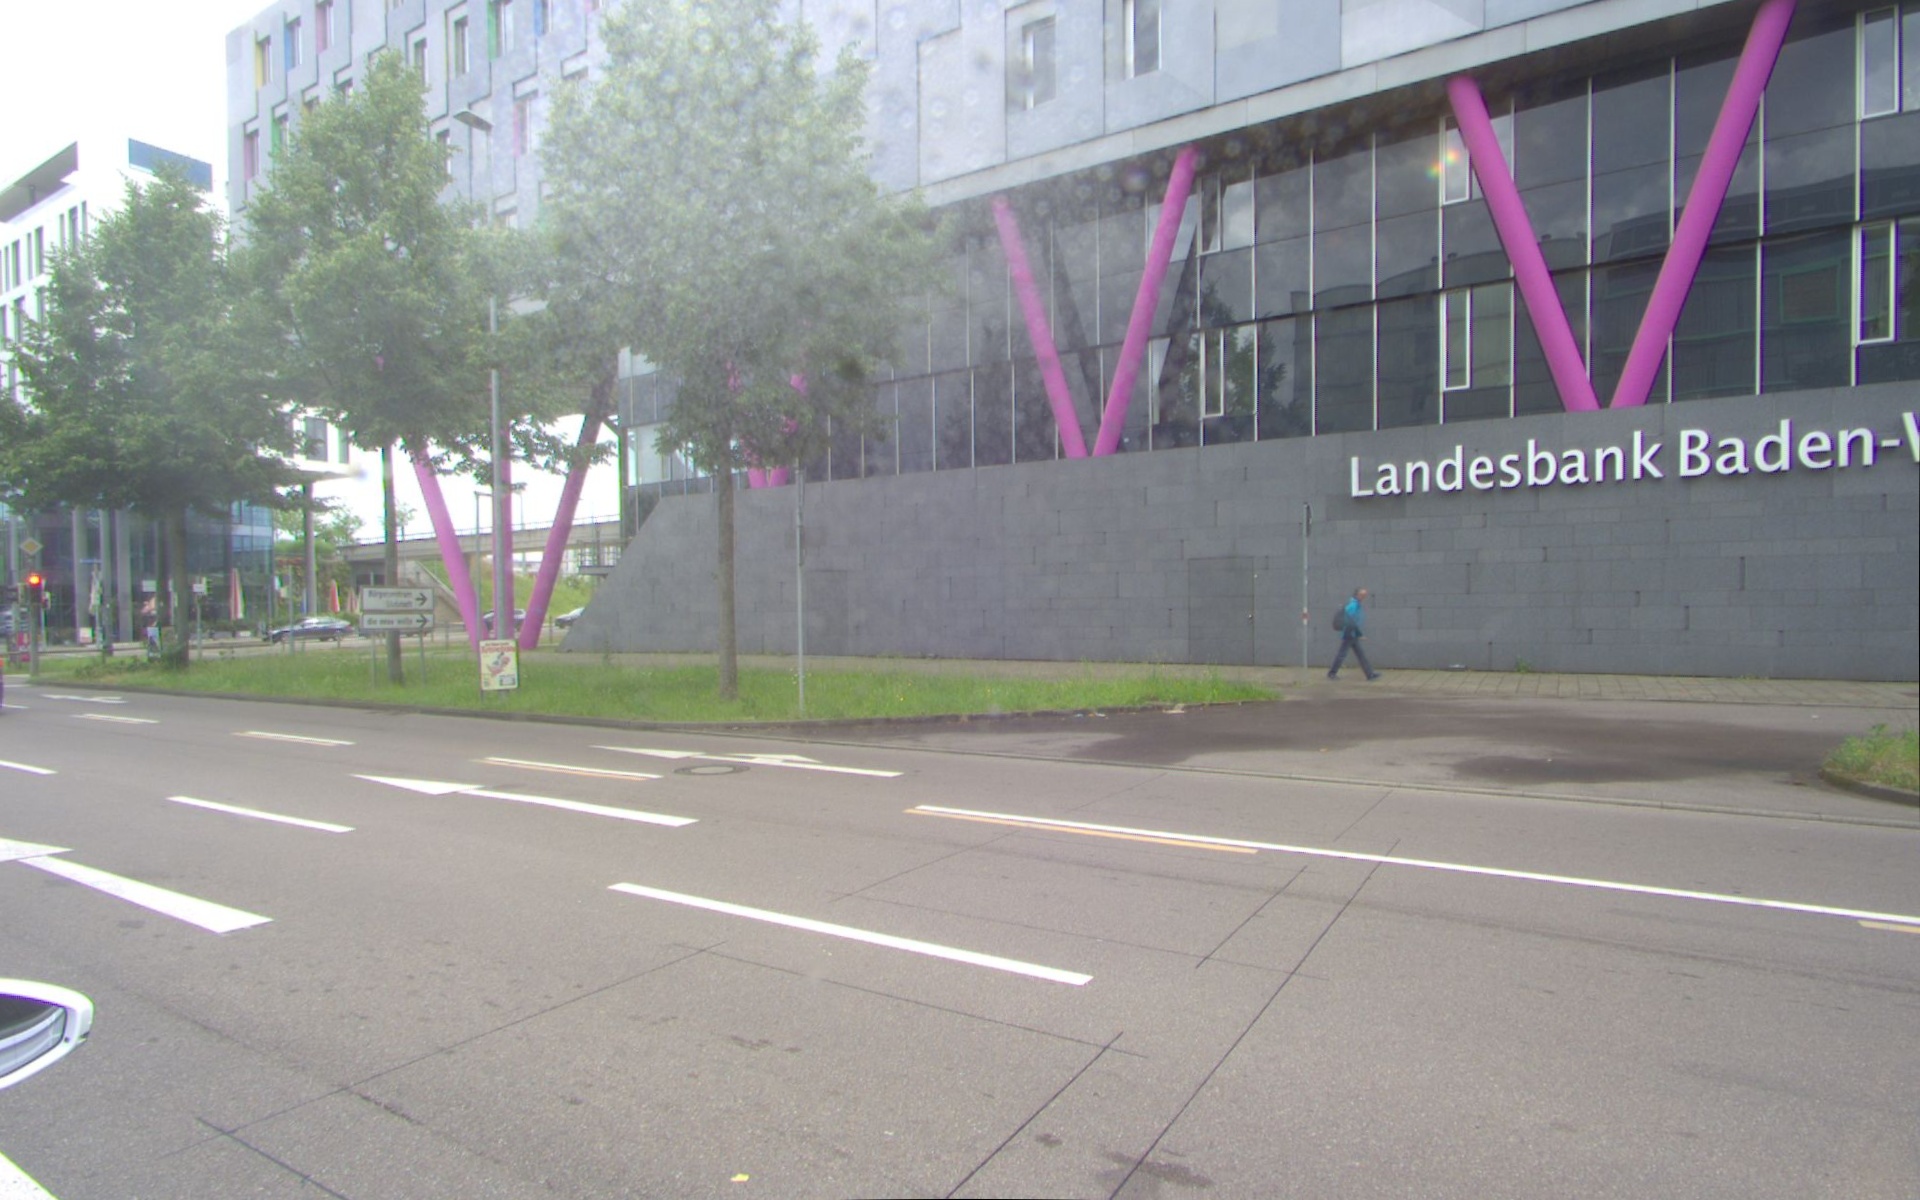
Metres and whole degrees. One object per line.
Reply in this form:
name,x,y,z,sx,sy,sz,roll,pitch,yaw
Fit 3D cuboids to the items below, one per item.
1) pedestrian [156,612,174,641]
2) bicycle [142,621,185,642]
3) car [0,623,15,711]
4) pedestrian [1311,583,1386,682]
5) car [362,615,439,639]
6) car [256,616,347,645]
pedestrian,-43.971,1.461,55.394,0.610,1.625,0.613,0,1,34
bicycle,-44.010,1.721,55.339,0.609,1.100,1.787,0,0,34
car,-18.839,1.156,17.971,4.206,1.519,1.744,0,0,32
pedestrian,7.303,0.591,18.811,1.121,1.794,1.049,0,1,33
car,-36.238,1.712,64.931,1.734,1.474,4.070,0,0,34
car,-39.171,1.788,59.658,1.734,1.636,4.240,0,0,34
